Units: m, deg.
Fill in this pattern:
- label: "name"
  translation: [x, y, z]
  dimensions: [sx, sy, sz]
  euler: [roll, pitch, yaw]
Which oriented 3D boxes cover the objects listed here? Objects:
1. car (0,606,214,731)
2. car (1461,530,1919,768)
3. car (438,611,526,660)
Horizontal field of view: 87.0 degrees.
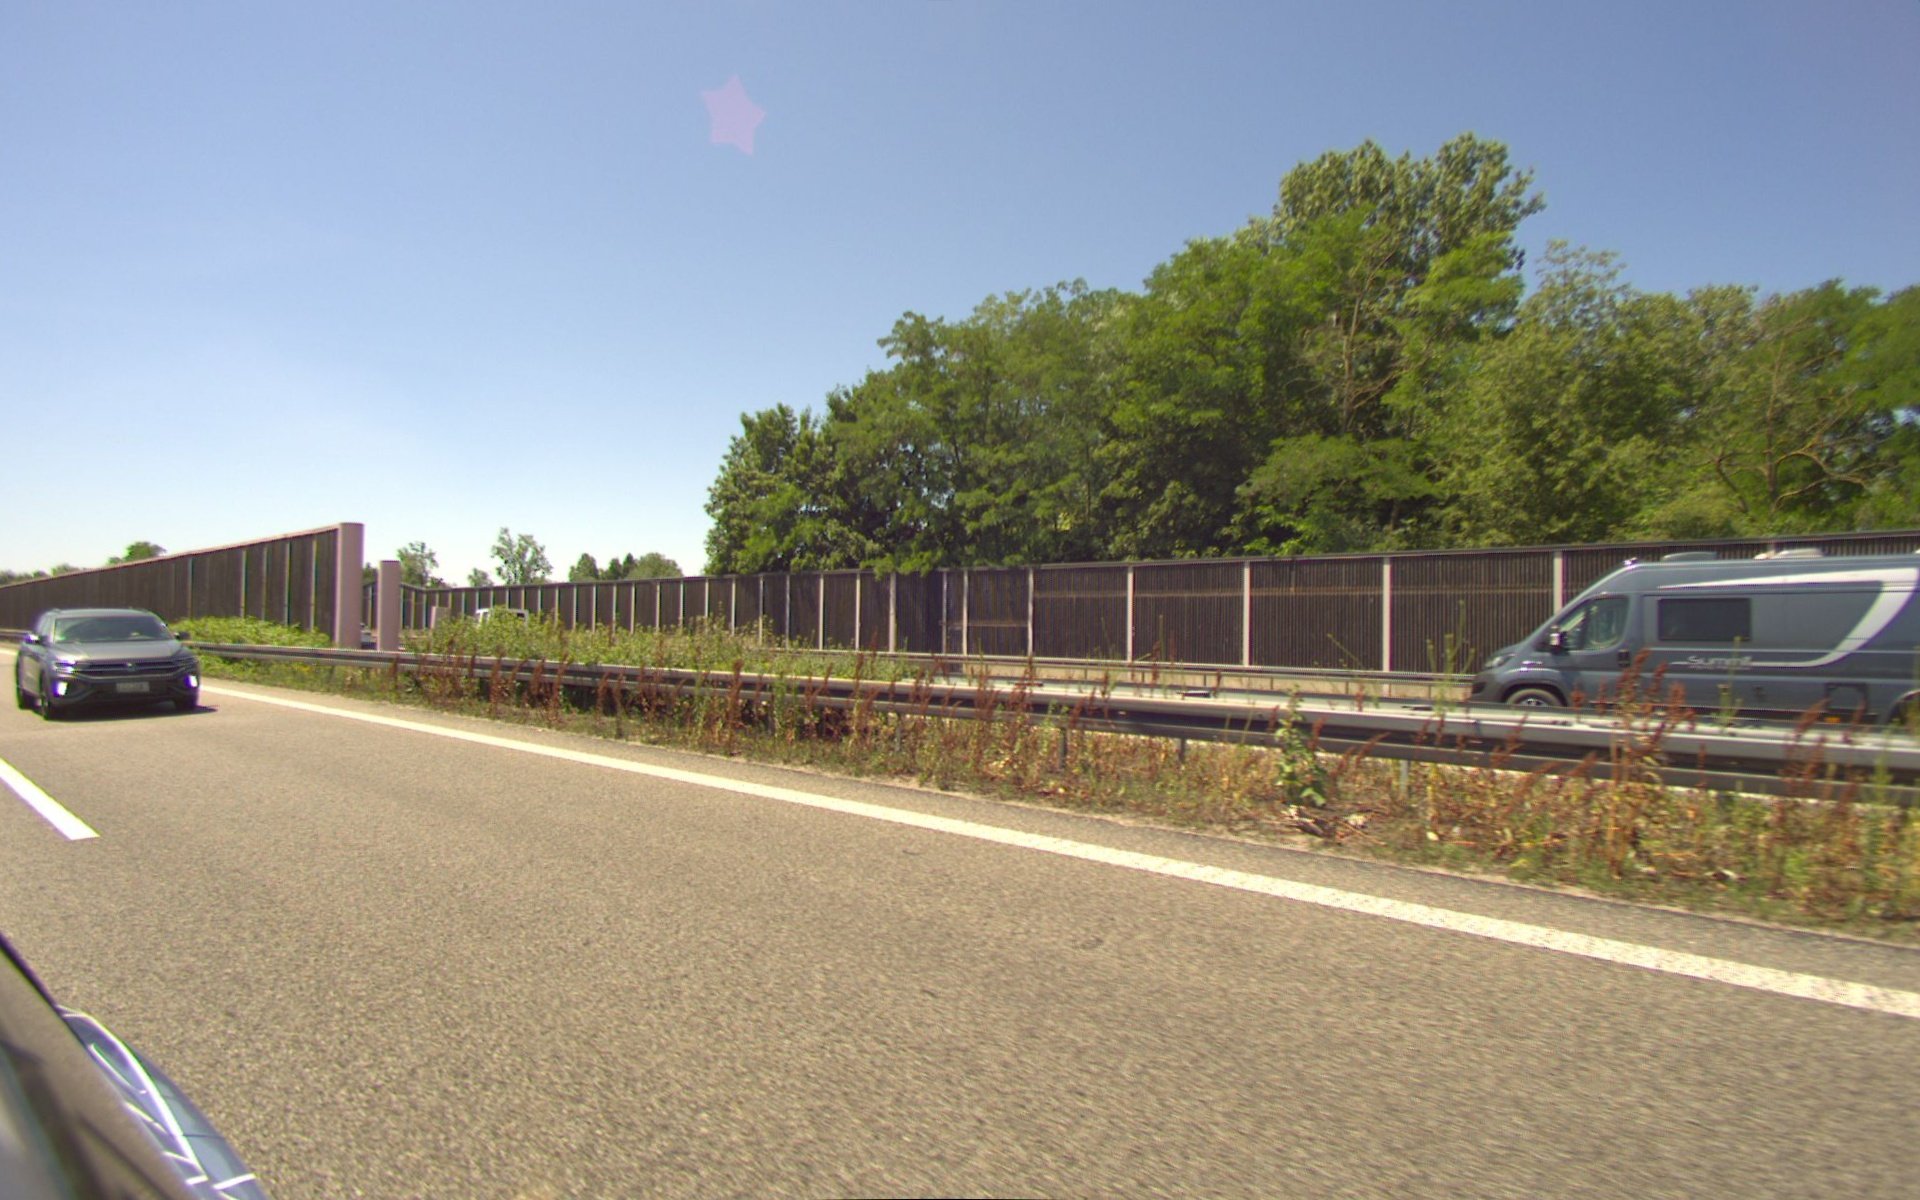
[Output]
- label: "car"
  translation: [-13.484, 0.987, 15.778]
  dimensions: [5.004, 1.652, 1.861]
  euler: [-2, -2, 40]
- label: "car"
  translation: [10.602, 0.494, 12.459]
  dimensions: [7.581, 2.582, 2.292]
  euler: [-1, 2, 42]
- label: "car"
  translation: [-21.516, 1.560, 45.480]
  dimensions: [4.764, 2.103, 1.870]
  euler: [-1, -1, 41]
